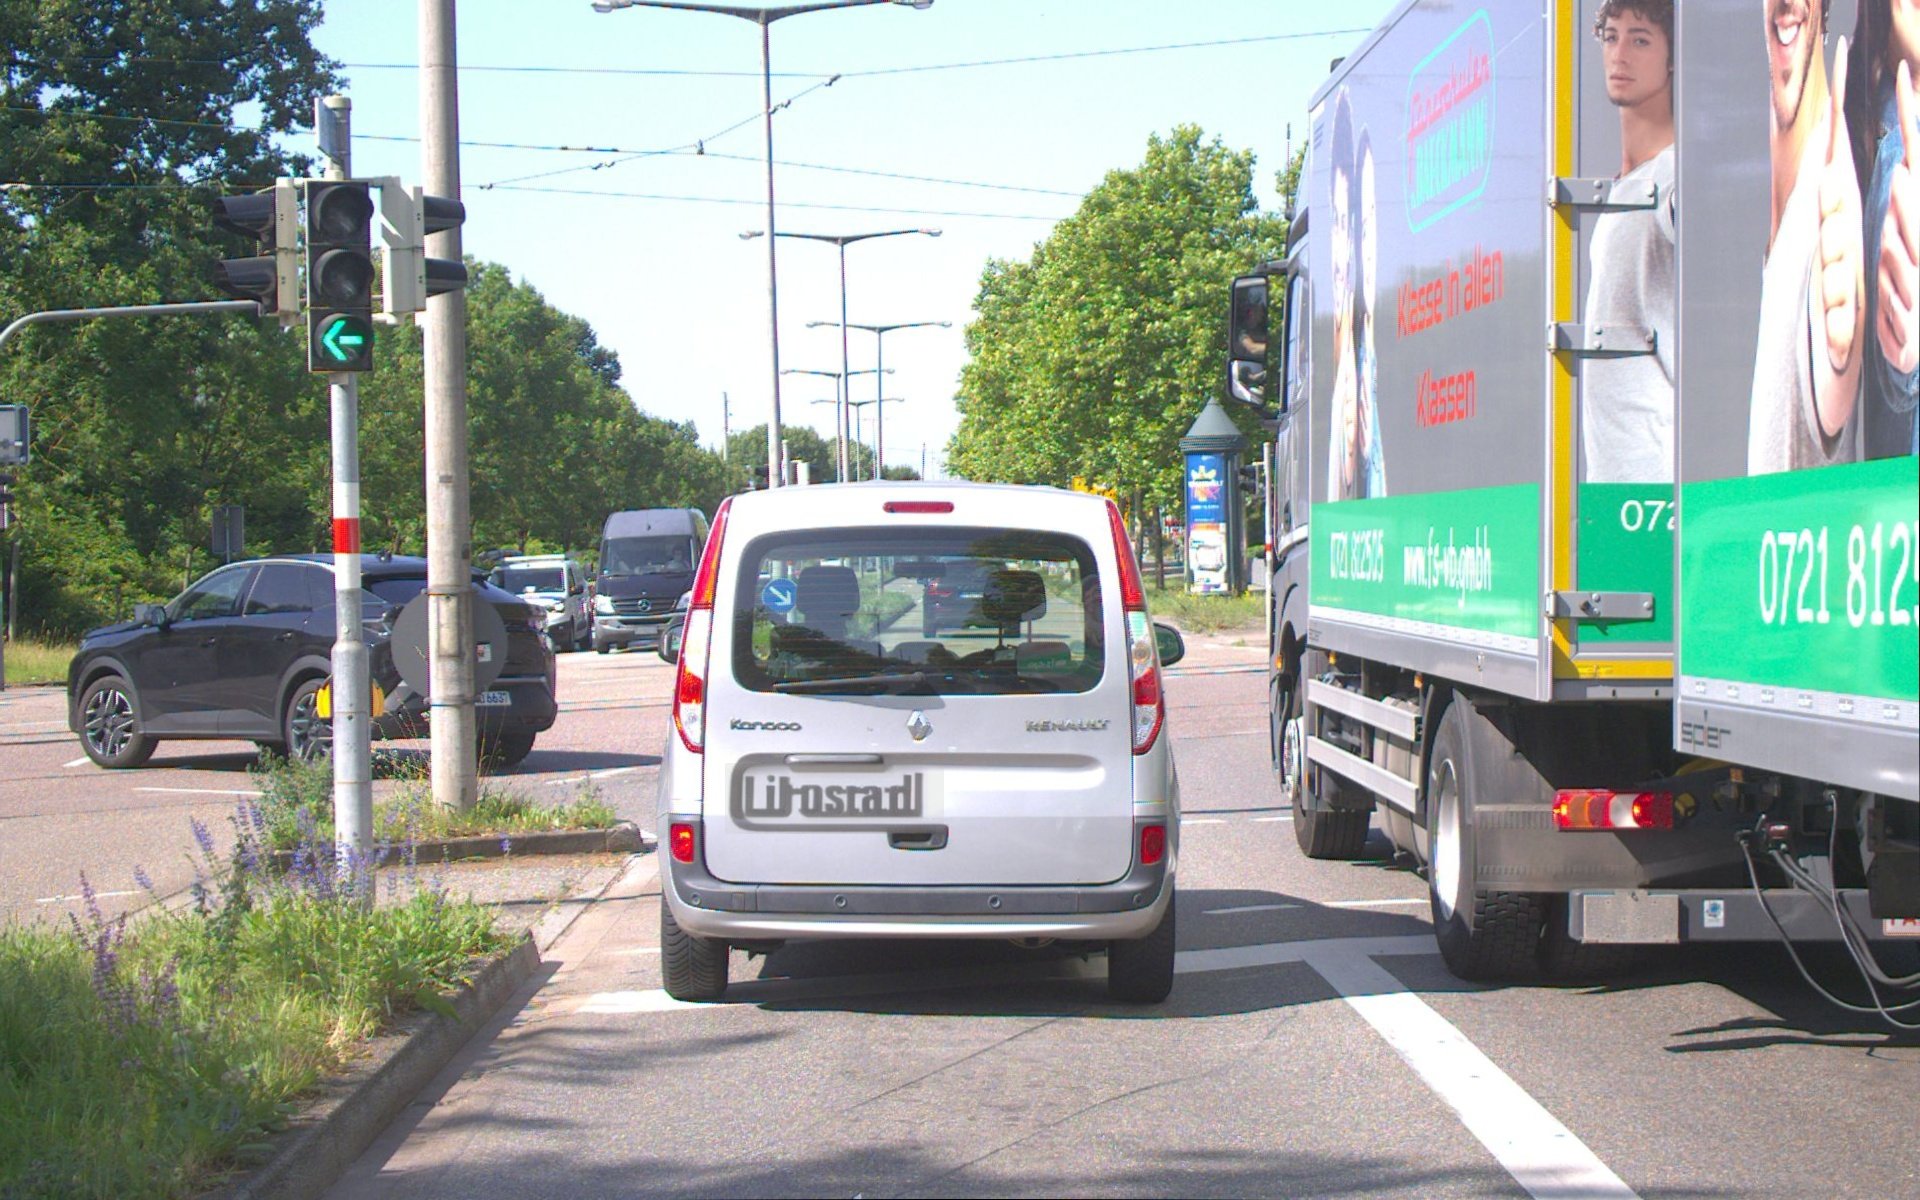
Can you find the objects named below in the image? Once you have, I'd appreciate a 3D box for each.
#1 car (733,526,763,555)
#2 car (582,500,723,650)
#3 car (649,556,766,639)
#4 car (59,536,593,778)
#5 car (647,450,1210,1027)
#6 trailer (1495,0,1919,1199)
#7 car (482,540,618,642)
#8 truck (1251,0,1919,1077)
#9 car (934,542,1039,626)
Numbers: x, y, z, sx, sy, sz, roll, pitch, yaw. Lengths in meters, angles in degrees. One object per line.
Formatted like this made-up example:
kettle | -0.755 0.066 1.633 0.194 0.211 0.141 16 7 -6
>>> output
car | -15.261 -4.263 247.928 1.888 2.007 4.000 1 0 0
car | -5.614 -0.454 63.331 1.993 2.598 5.133 -2 0 1
car | -5.175 -0.058 70.832 1.993 1.579 4.000 -2 0 1
car | -4.916 0.392 26.304 1.932 1.656 4.226 -3 2 -45
car | -0.175 0.433 13.036 1.786 1.831 4.000 1 0 -2
trailer | 2.964 -0.503 6.187 2.736 3.863 7.735 -1 0 0
car | -7.956 -0.190 67.100 1.993 1.863 4.773 -2 0 1
truck | 2.951 -0.581 14.448 2.729 3.876 8.723 -1 0 0
car | 0.546 -0.319 67.739 1.993 1.579 4.456 1 0 1
